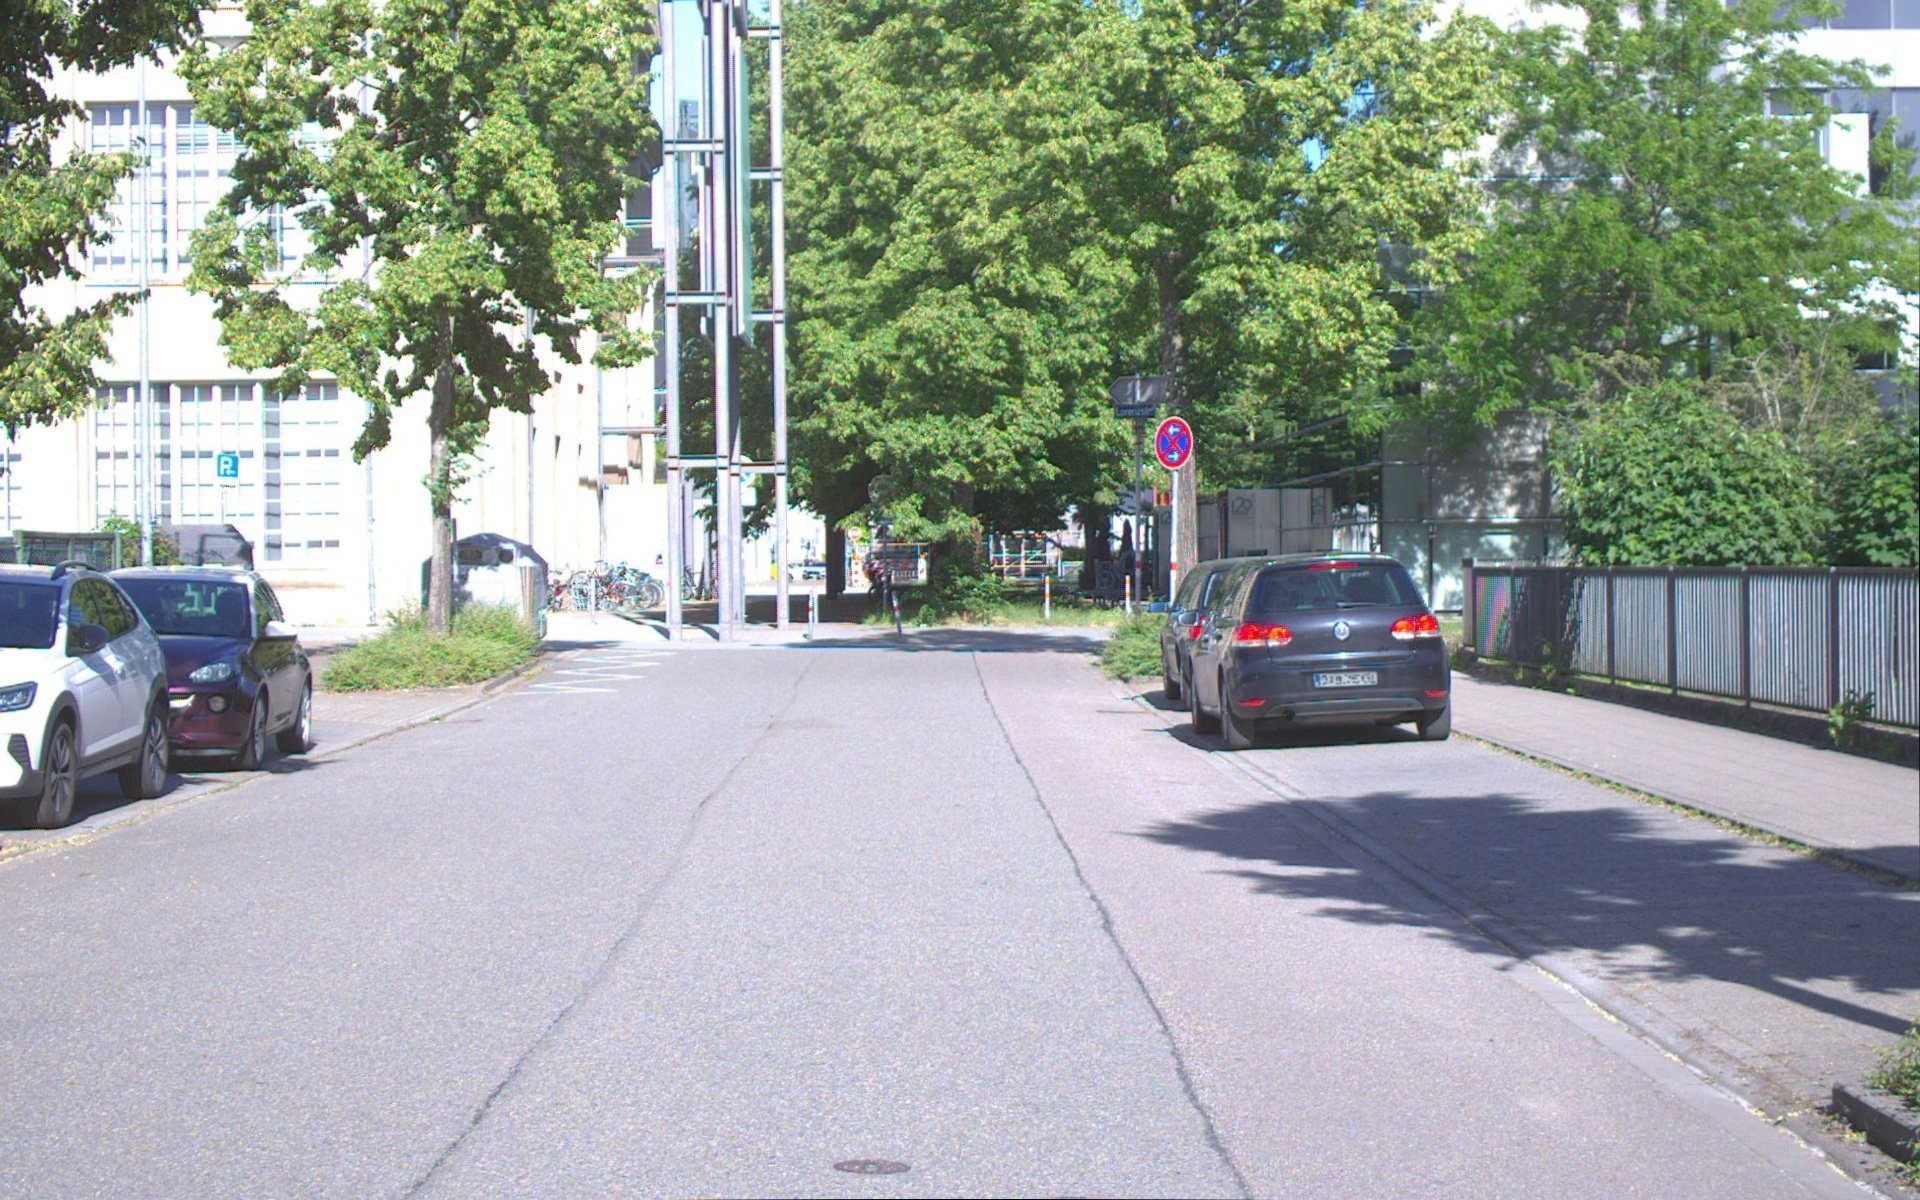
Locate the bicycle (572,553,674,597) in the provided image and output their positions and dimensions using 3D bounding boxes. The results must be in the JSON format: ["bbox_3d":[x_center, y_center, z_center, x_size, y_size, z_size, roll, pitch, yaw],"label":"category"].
[{"bbox_3d":[-9.142,-0.689,93.286,2.731,1.147,0.719,-1,1,-5],"label":"bicycle"}]

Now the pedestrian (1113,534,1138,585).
[{"bbox_3d":[5.105,-1.246,105.909,0.717,1.545,0.690,-1,1,6],"label":"pedestrian"}]

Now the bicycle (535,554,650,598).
[{"bbox_3d":[-9.064,-0.590,84.946,2.800,1.059,0.719,-1,1,-5],"label":"bicycle"}]

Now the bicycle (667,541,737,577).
[{"bbox_3d":[-7.845,-1.254,104.518,2.058,1.062,0.506,-1,1,2],"label":"bicycle"}]

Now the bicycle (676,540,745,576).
[{"bbox_3d":[-7.651,-1.290,105.340,2.058,1.062,0.506,-1,1,2],"label":"bicycle"}]

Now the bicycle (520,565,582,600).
[{"bbox_3d":[-9.746,-0.419,82.035,0.778,0.789,2.883,0,1,7],"label":"bicycle"}]

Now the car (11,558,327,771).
[{"bbox_3d":[-5.922,0.435,26.103,1.717,1.469,3.547,1,1,-3],"label":"car"}]

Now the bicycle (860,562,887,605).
[{"bbox_3d":[-2.487,-0.469,98.858,0.619,1.193,2.132,-1,1,-6],"label":"bicycle"}]

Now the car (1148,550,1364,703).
[{"bbox_3d":[2.868,0.229,34.134,1.746,1.417,4.424,0,0,0],"label":"car"}]

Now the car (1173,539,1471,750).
[{"bbox_3d":[2.810,0.293,27.504,1.783,1.511,4.001,-1,1,-2],"label":"car"}]

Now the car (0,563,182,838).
[{"bbox_3d":[-6.035,0.518,20.676,1.840,1.469,4.002,1,1,-1],"label":"car"}]

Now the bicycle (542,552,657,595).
[{"bbox_3d":[-9.073,-0.665,86.587,2.800,1.059,0.719,-1,1,0],"label":"bicycle"}]

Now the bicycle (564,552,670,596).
[{"bbox_3d":[-9.173,-0.696,91.915,2.800,1.147,0.719,-1,1,-5],"label":"bicycle"}]
